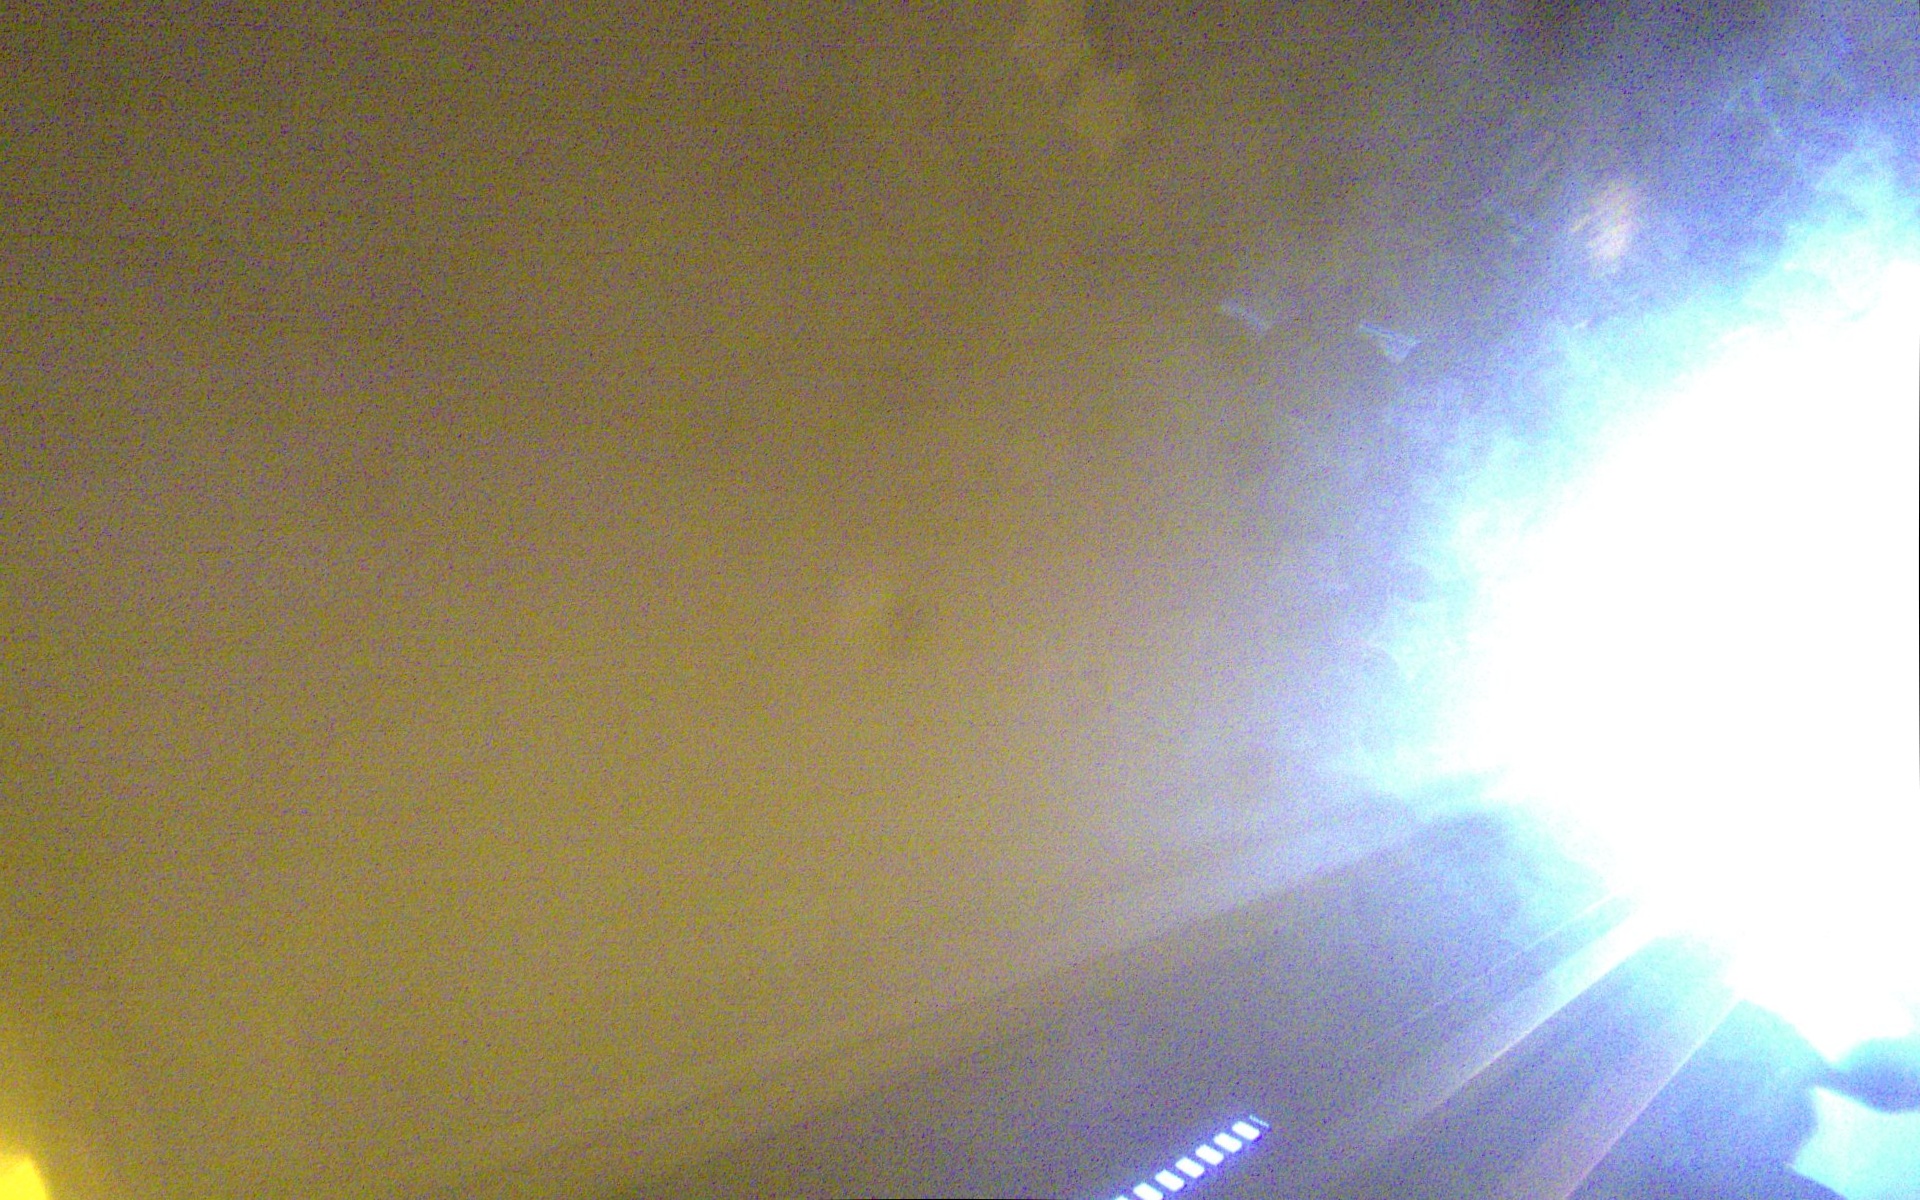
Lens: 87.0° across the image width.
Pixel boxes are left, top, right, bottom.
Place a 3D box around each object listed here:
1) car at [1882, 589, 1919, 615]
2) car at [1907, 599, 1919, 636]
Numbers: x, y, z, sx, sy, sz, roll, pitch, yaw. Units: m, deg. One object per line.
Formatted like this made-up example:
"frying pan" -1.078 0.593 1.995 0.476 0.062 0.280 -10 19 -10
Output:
"car" 68.519 0.151 73.444 1.697 1.794 3.954 1 1 32
"car" 56.076 0.999 58.110 1.888 2.039 3.950 1 1 35
